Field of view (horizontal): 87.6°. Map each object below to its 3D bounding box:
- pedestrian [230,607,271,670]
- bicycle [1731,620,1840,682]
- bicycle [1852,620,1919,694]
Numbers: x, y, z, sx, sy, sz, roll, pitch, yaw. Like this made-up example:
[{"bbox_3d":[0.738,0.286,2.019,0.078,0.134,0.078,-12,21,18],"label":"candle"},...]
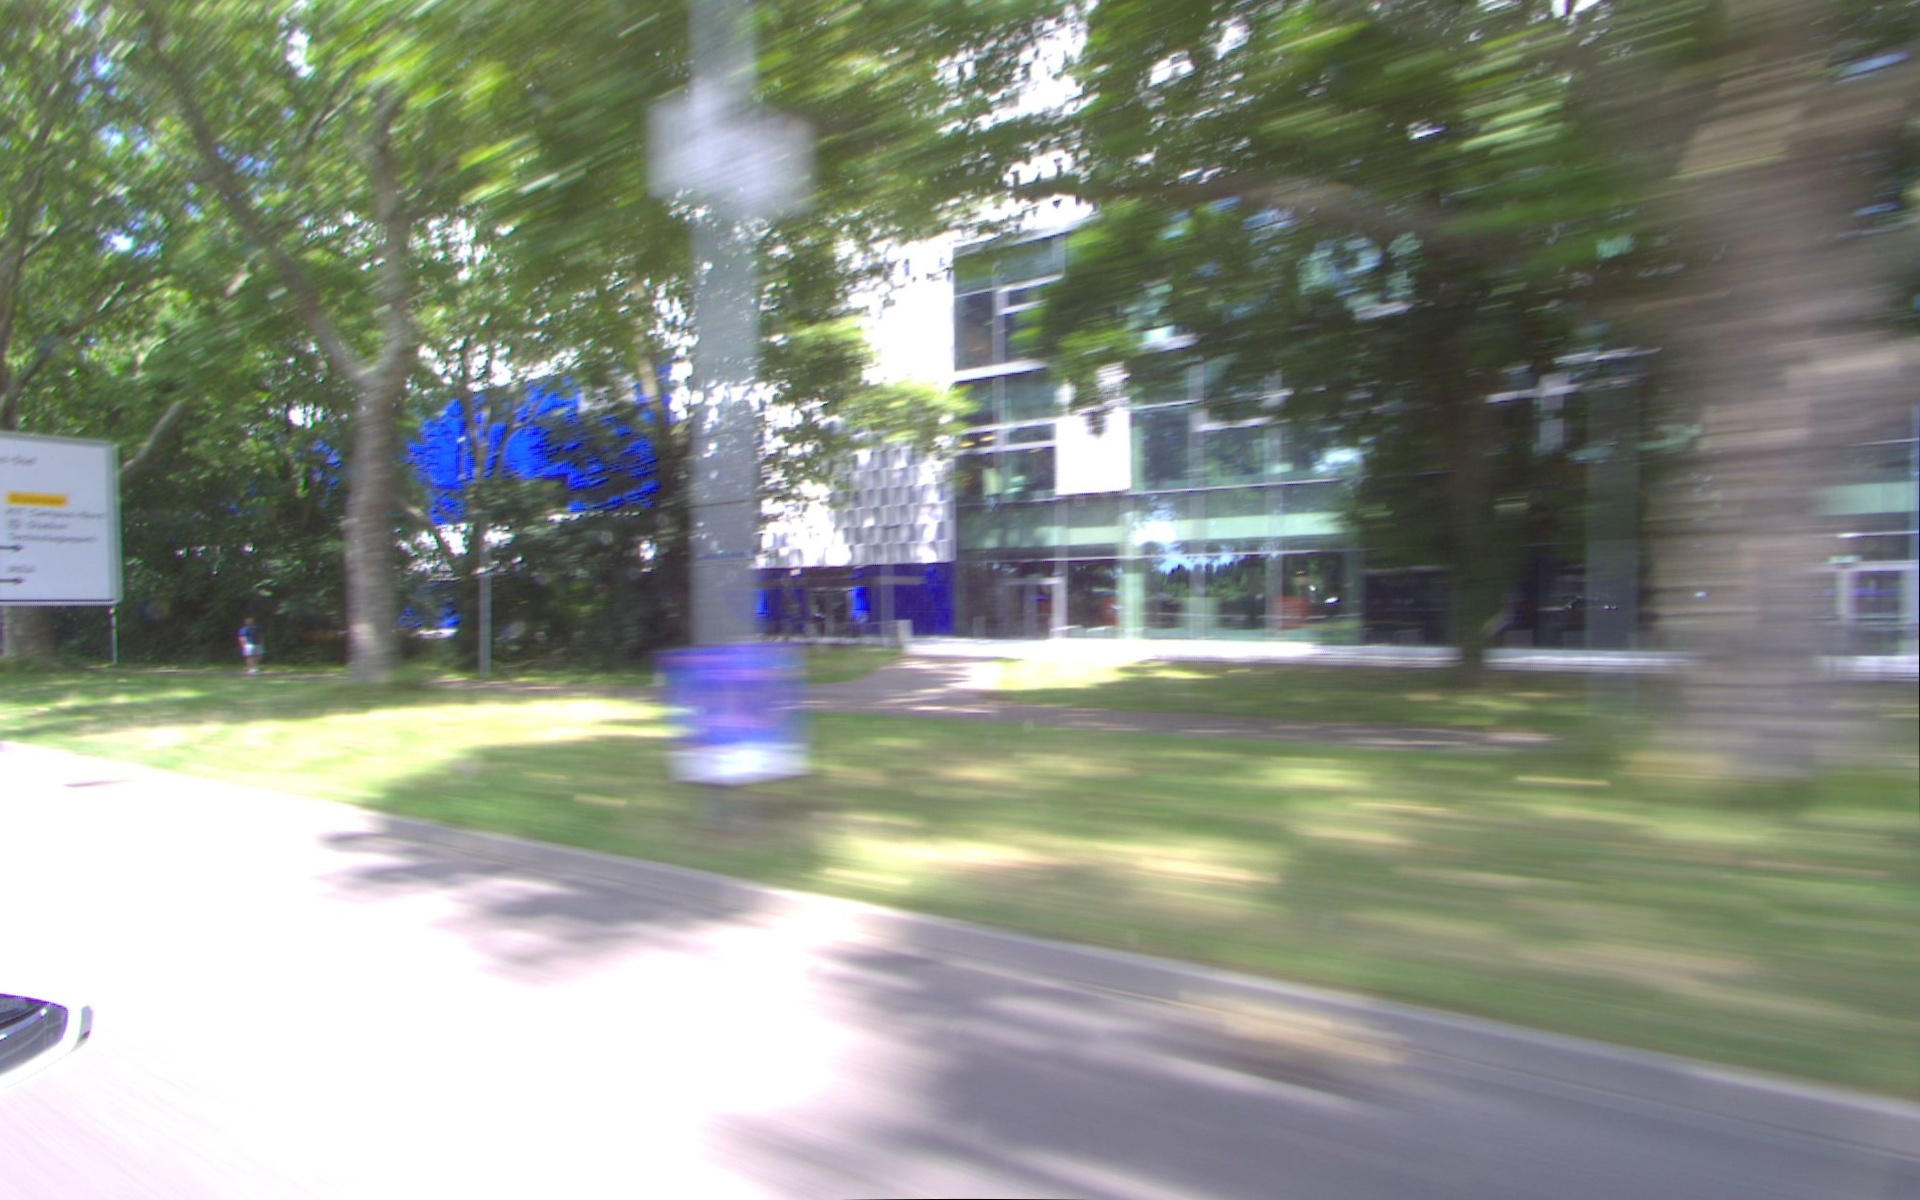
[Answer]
[{"bbox_3d":[-23.747,1.274,33.520,0.943,2.040,0.834,0,0,32],"label":"pedestrian"},{"bbox_3d":[16.883,1.004,20.456,2.739,1.136,0.891,-1,1,-32],"label":"bicycle"},{"bbox_3d":[18.210,1.020,18.919,3.784,1.191,0.981,-1,1,-31],"label":"bicycle"}]
